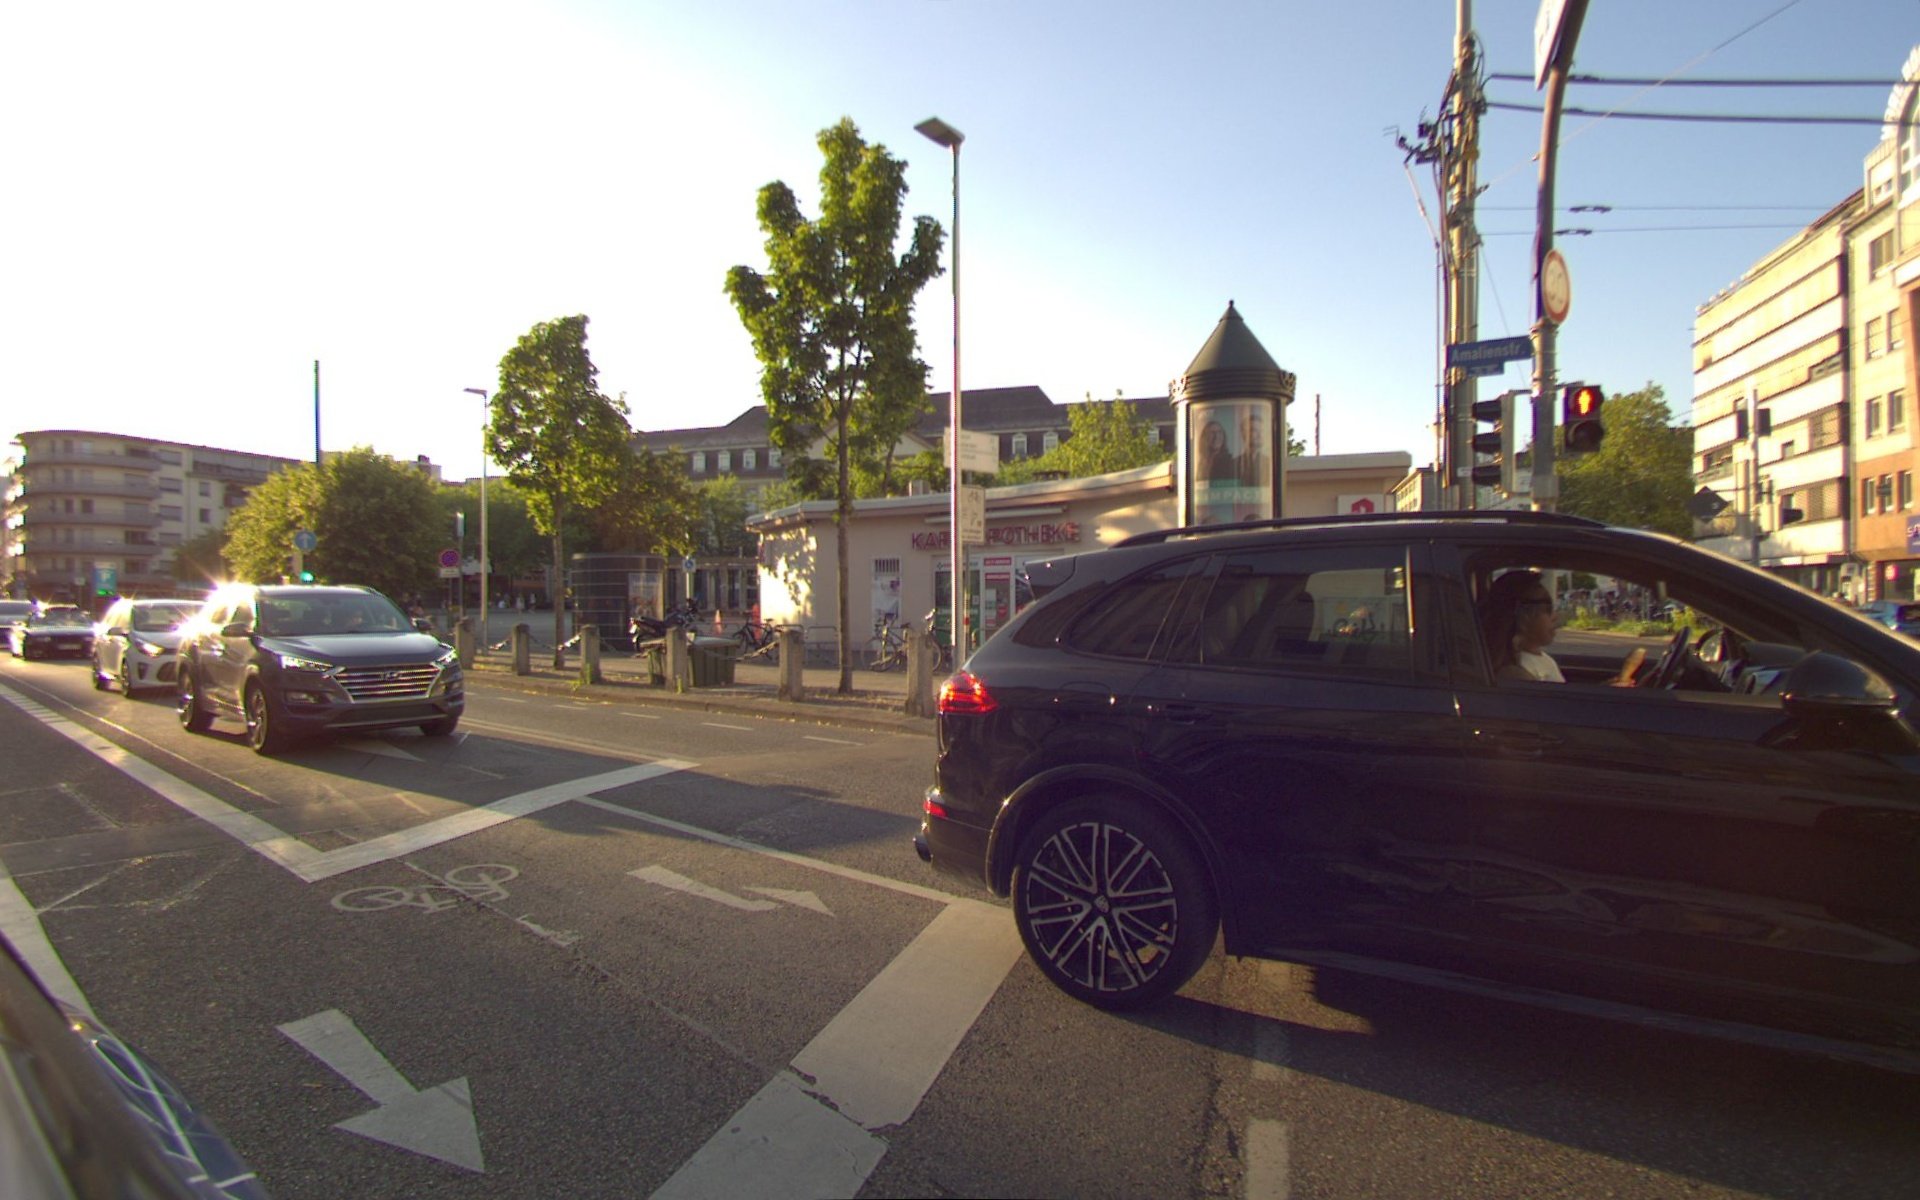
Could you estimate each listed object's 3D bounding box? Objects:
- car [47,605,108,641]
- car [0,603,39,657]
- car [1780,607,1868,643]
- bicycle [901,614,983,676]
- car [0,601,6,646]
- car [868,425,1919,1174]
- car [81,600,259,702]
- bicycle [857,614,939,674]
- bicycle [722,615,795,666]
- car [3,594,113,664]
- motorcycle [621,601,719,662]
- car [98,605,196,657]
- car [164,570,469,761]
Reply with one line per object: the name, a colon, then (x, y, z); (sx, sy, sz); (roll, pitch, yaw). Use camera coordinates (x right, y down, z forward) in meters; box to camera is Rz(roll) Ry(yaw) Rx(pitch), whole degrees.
car: (-43.625, 1.128, 50.009); (3.984, 1.711, 1.803); (-1, -3, 42)
car: (-32.588, 1.006, 34.180); (3.985, 1.754, 1.803); (-1, -2, 43)
car: (33.905, 0.963, 39.791); (1.448, 1.301, 3.128); (-3, -2, 18)
bicycle: (-0.326, 0.843, 19.469); (0.449, 1.122, 1.846); (0, 0, 42)
car: (-40.488, 0.963, 41.466); (4.001, 1.785, 1.854); (-1, 0, 44)
car: (2.047, 0.455, 3.451); (4.554, 1.710, 1.787); (-1, 0, 32)
car: (-13.120, 0.764, 16.729); (3.985, 1.483, 1.695); (-1, 0, 43)
bicycle: (-1.204, 0.852, 20.104); (0.449, 1.122, 1.846); (0, 0, 42)
bicycle: (-4.654, 0.915, 23.424); (0.395, 1.111, 1.787); (-1, -1, 41)
car: (-24.234, 0.765, 27.152); (3.985, 1.754, 1.803); (-1, -2, 43)
motorcycle: (-7.226, 0.767, 25.356); (0.700, 1.457, 2.368); (-1, -1, 41)
car: (-26.828, 0.989, 33.363); (3.998, 1.615, 1.856); (-1, 0, 41)
car: (-7.220, 0.604, 11.174); (4.259, 1.710, 1.803); (-1, -1, 42)
